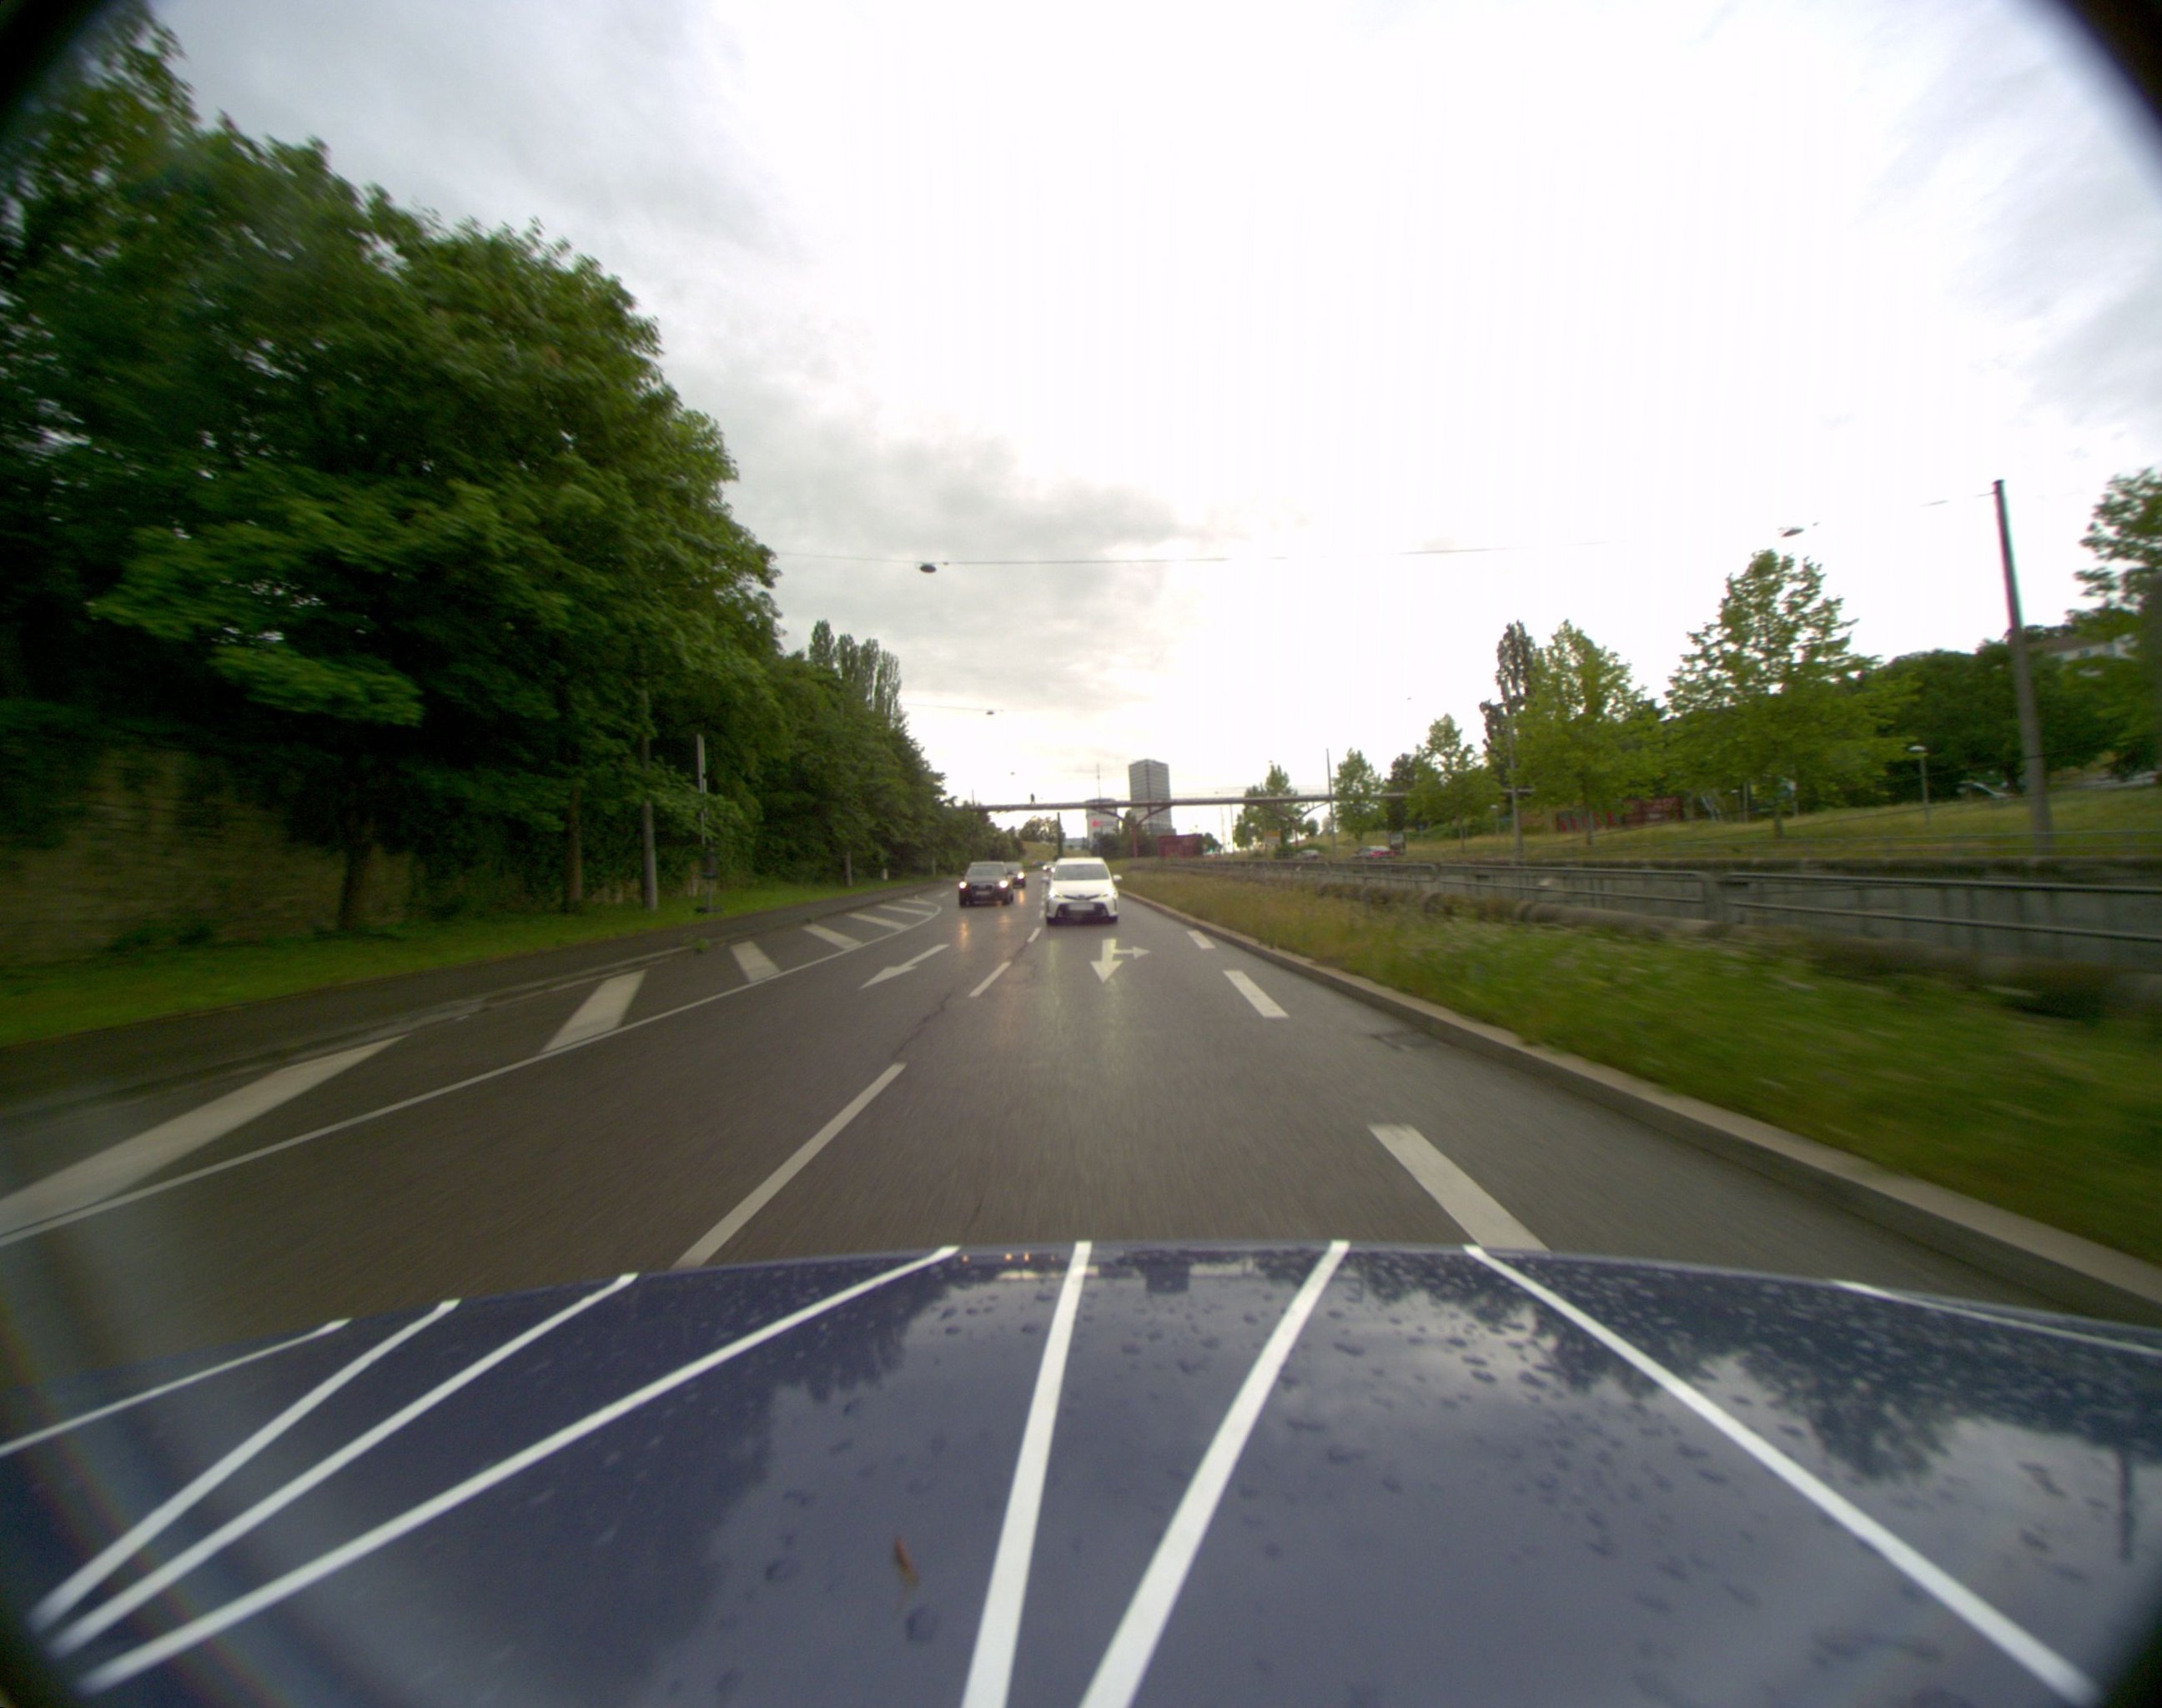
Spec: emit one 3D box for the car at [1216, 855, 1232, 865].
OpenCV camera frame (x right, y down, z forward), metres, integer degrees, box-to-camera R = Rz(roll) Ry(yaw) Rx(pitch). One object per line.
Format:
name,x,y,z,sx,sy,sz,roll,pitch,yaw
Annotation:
car,24.783,0.977,131.910,1.661,1.565,3.790,-5,0,-5

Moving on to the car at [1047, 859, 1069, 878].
car,-2.325,1.463,78.240,1.998,1.761,4.000,-3,0,1

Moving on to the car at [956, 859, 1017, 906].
car,-3.497,1.010,28.752,1.928,1.591,4.278,-2,0,-3

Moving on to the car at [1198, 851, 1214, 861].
car,19.777,0.337,120.246,1.661,1.518,4.435,-4,-1,-2

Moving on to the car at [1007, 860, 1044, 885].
car,-3.233,1.067,45.174,1.846,1.377,4.000,-3,0,0

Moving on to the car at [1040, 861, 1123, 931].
car,0.051,0.996,19.911,1.924,1.604,4.376,-1,0,1

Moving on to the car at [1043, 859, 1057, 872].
car,-4.579,1.670,112.579,1.999,1.761,3.999,-1,0,-2

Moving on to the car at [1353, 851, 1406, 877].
car,21.588,0.675,55.138,1.896,1.634,4.357,-5,0,-2

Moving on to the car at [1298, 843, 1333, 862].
car,21.937,-0.117,71.120,1.896,1.631,3.972,-3,0,-2
